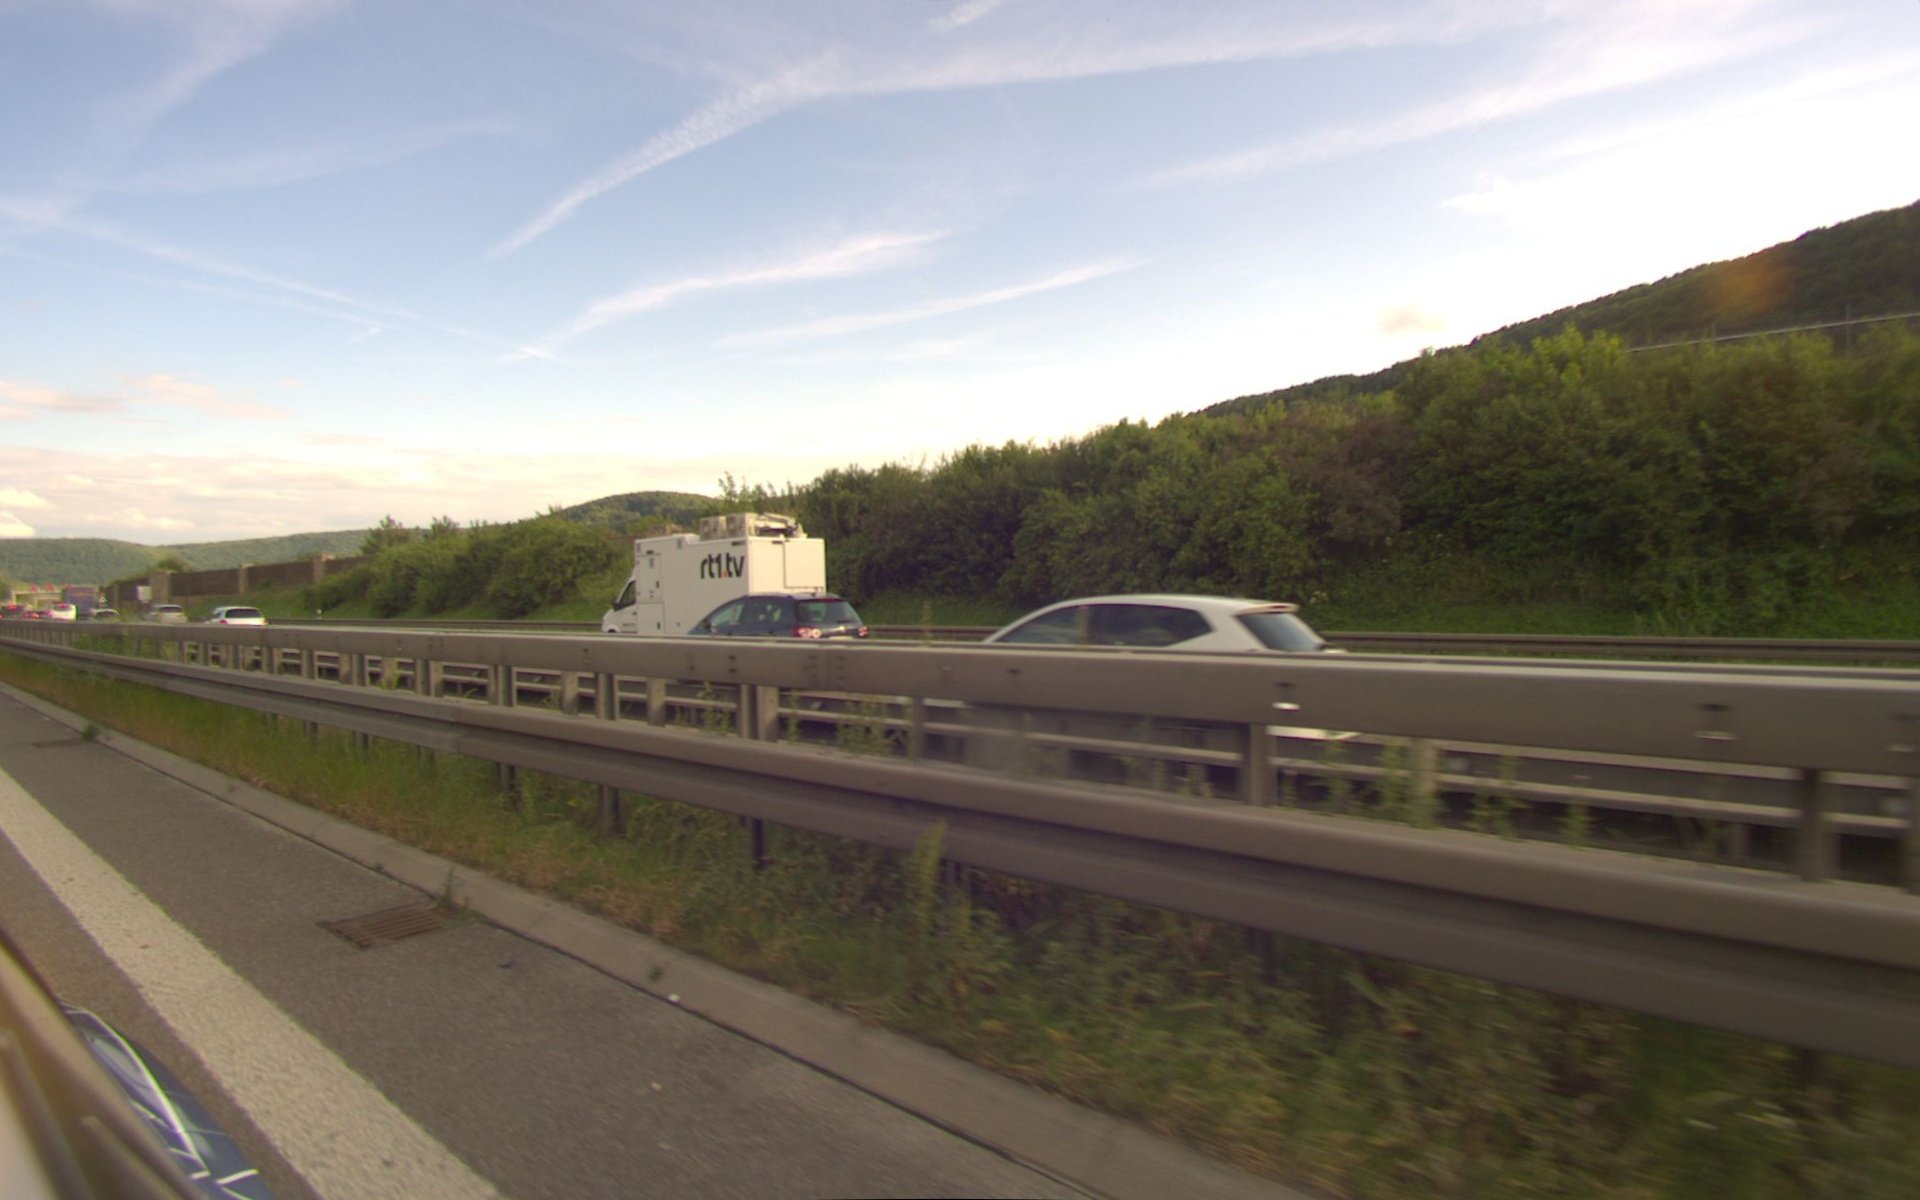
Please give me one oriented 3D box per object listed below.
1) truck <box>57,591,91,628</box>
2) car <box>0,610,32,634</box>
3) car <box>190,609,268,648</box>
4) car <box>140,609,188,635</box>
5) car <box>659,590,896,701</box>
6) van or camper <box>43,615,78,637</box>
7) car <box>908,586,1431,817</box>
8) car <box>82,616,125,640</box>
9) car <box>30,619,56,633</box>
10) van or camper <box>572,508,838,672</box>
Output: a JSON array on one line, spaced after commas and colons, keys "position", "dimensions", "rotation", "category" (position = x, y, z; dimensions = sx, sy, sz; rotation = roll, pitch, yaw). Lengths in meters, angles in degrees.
[{"position": [-108.614, 1.236, 123.986], "dimensions": [2.619, 4.311, 14.691], "rotation": [0, -1, -43], "category": "truck"}, {"position": [-78.160, 1.807, 83.542], "dimensions": [4.345, 1.906, 1.908], "rotation": [-1, -1, 43], "category": "car"}, {"position": [-29.480, 1.124, 40.750], "dimensions": [4.343, 1.446, 1.626], "rotation": [-1, 0, 41], "category": "car"}, {"position": [-55.286, 1.503, 70.243], "dimensions": [4.879, 1.735, 1.908], "rotation": [-1, -1, 43], "category": "car"}, {"position": [-3.209, 0.700, 17.236], "dimensions": [4.343, 1.669, 1.626], "rotation": [-1, 0, 41], "category": "car"}, {"position": [-80.261, 2.294, 90.292], "dimensions": [5.401, 1.954, 1.828], "rotation": [-1, -1, 43], "category": "van or camper"}, {"position": [1.527, 0.643, 8.154], "dimensions": [3.762, 1.420, 1.761], "rotation": [-1, -1, 43], "category": "car"}, {"position": [-55.469, 1.775, 65.511], "dimensions": [4.345, 1.446, 1.625], "rotation": [-1, 0, 43], "category": "car"}, {"position": [-96.939, 2.737, 106.961], "dimensions": [4.000, 1.407, 1.666], "rotation": [-1, -1, 43], "category": "car"}, {"position": [-6.678, -0.172, 25.625], "dimensions": [7.974, 3.578, 2.456], "rotation": [-1, -1, 41], "category": "van or camper"}]
